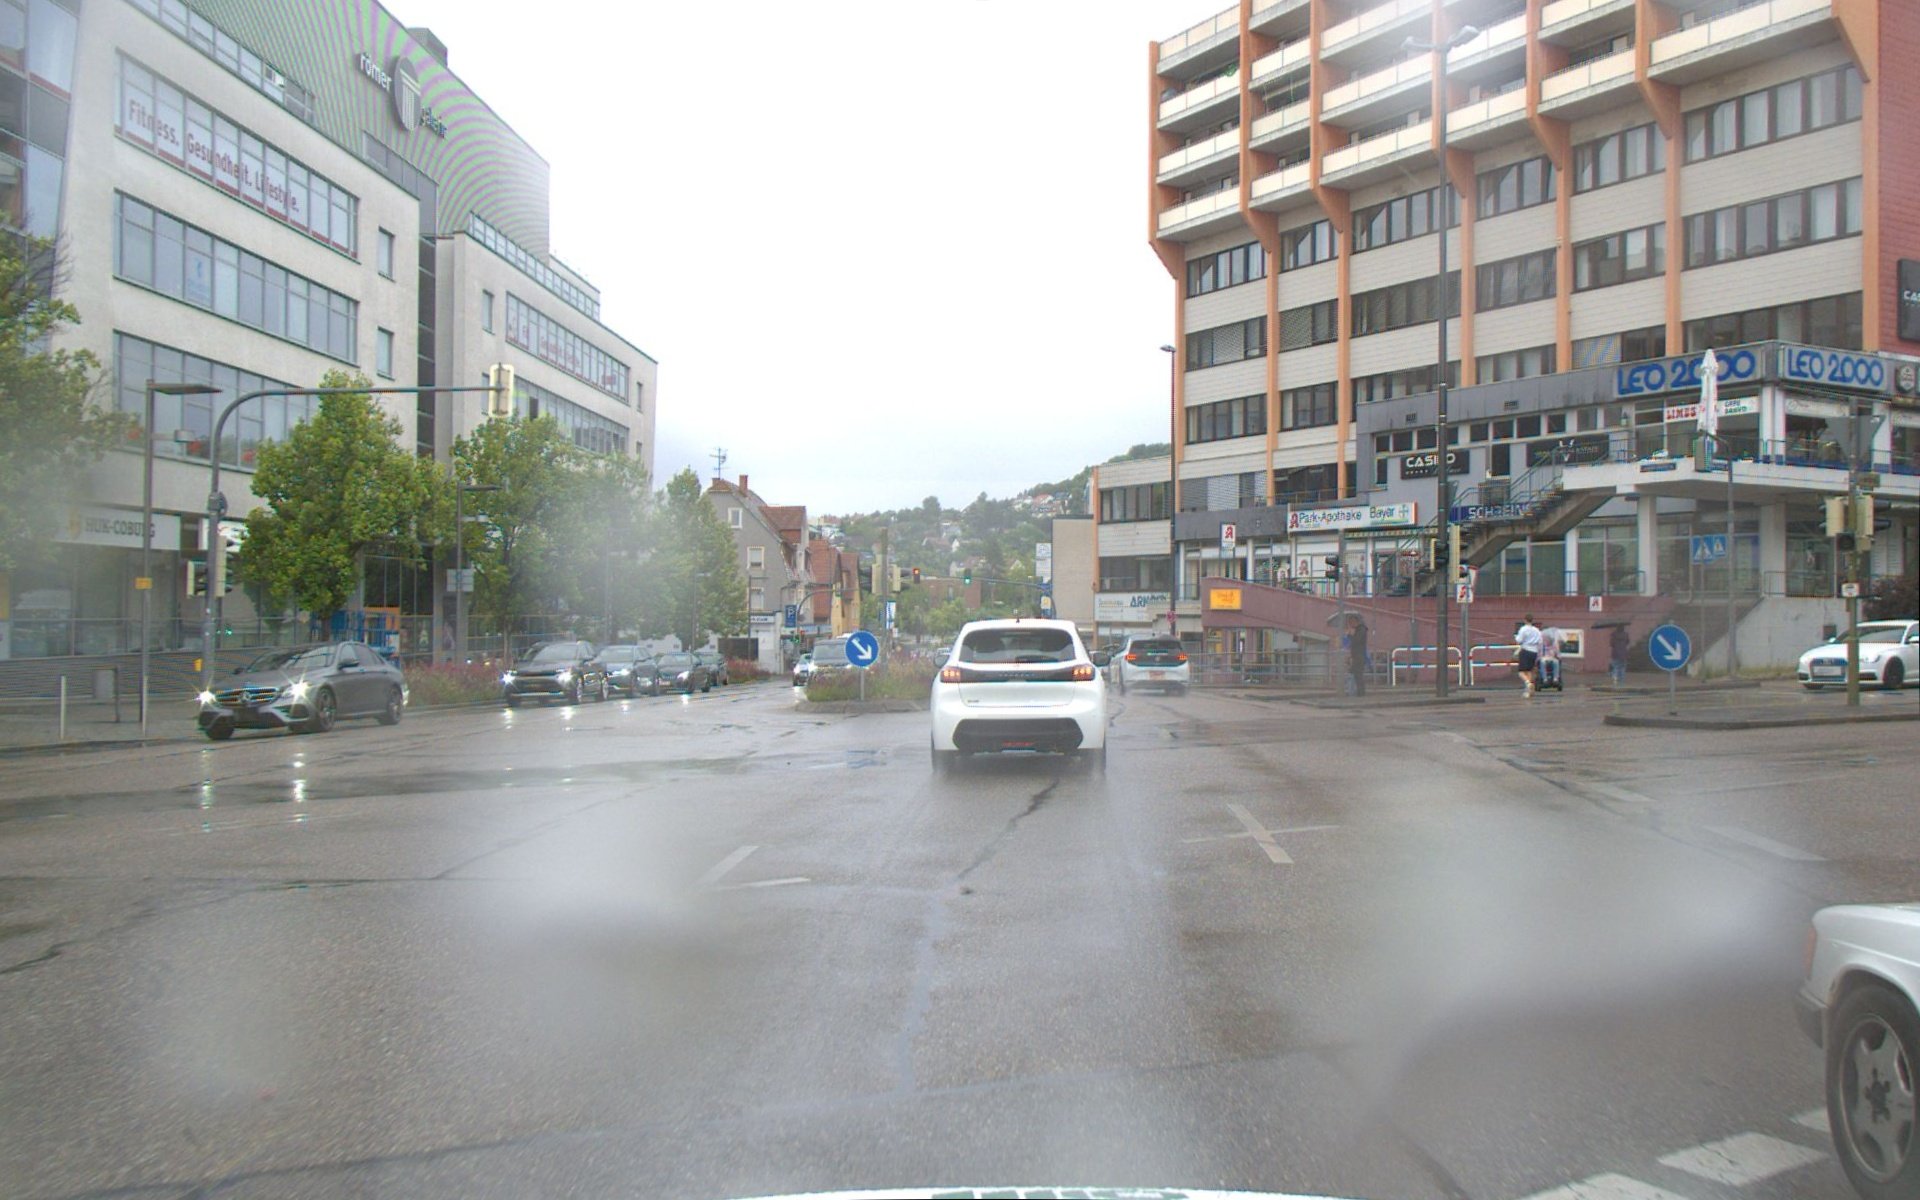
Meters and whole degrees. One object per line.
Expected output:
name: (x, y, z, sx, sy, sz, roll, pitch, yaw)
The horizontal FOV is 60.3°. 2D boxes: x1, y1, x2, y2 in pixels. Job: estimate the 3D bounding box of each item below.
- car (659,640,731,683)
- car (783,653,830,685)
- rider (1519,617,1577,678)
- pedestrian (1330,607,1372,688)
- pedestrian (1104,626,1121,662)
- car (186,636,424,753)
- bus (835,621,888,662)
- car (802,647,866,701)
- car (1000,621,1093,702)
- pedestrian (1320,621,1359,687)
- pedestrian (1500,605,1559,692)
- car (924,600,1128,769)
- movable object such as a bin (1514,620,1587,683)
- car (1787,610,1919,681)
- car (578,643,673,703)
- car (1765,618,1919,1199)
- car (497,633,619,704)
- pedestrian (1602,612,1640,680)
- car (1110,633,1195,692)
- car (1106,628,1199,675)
car: (-9.132, 2.104, 57.345, 1.690, 1.412, 4.600, -1, -2, 1)
car: (-7.179, 3.214, 77.585, 1.690, 1.412, 4.455, -1, -2, 1)
rider: (13.441, 1.074, 37.838, 0.903, 1.307, 1.091, -3, 0, 1)
pedestrian: (8.083, 0.984, 34.232, 0.693, 1.635, 0.656, -2, -2, 5)
pedestrian: (8.073, 2.328, 87.402, 0.633, 1.854, 0.576, 0, -2, -31)
car: (-10.558, 1.466, 27.113, 1.880, 1.660, 4.903, 0, 0, 1)
bus: (-7.295, 3.056, 123.683, 2.877, 2.832, 9.507, -1, -1, 3)
car: (-4.596, 2.746, 60.965, 1.953, 1.855, 4.297, -3, -3, 0)
car: (1.900, 1.268, 35.405, 1.777, 1.556, 3.815, -2, -1, 5)
pedestrian: (8.017, 1.142, 34.971, 0.692, 1.369, 0.656, -1, -2, 5)
pedestrian: (11.526, 0.968, 33.488, 0.811, 1.720, 1.129, 0, -1, 0)
car: (0.768, 0.787, 16.966, 1.832, 1.488, 3.875, 1, -1, 5)
movable object such as a bin: (13.500, 1.199, 37.872, 1.106, 1.355, 1.454, -3, -3, 1)
car: (19.986, 0.943, 35.499, 4.728, 1.431, 1.793, 0, -2, -32)
car: (-10.217, 2.191, 50.852, 1.737, 1.622, 4.589, -4, -1, 2)
car: (3.174, 0.821, 2.843, 1.600, 1.473, 4.270, 2, 0, 2)
car: (-10.415, 1.742, 43.174, 1.837, 1.622, 4.525, -4, -1, 2)
pedestrian: (16.650, 1.147, 41.696, 0.777, 1.698, 0.931, 0, -1, 15)
car: (4.885, 1.561, 42.374, 1.872, 1.425, 3.458, 0, -1, 2)
car: (9.754, 2.605, 84.011, 1.976, 2.266, 4.916, 0, -1, -34)
